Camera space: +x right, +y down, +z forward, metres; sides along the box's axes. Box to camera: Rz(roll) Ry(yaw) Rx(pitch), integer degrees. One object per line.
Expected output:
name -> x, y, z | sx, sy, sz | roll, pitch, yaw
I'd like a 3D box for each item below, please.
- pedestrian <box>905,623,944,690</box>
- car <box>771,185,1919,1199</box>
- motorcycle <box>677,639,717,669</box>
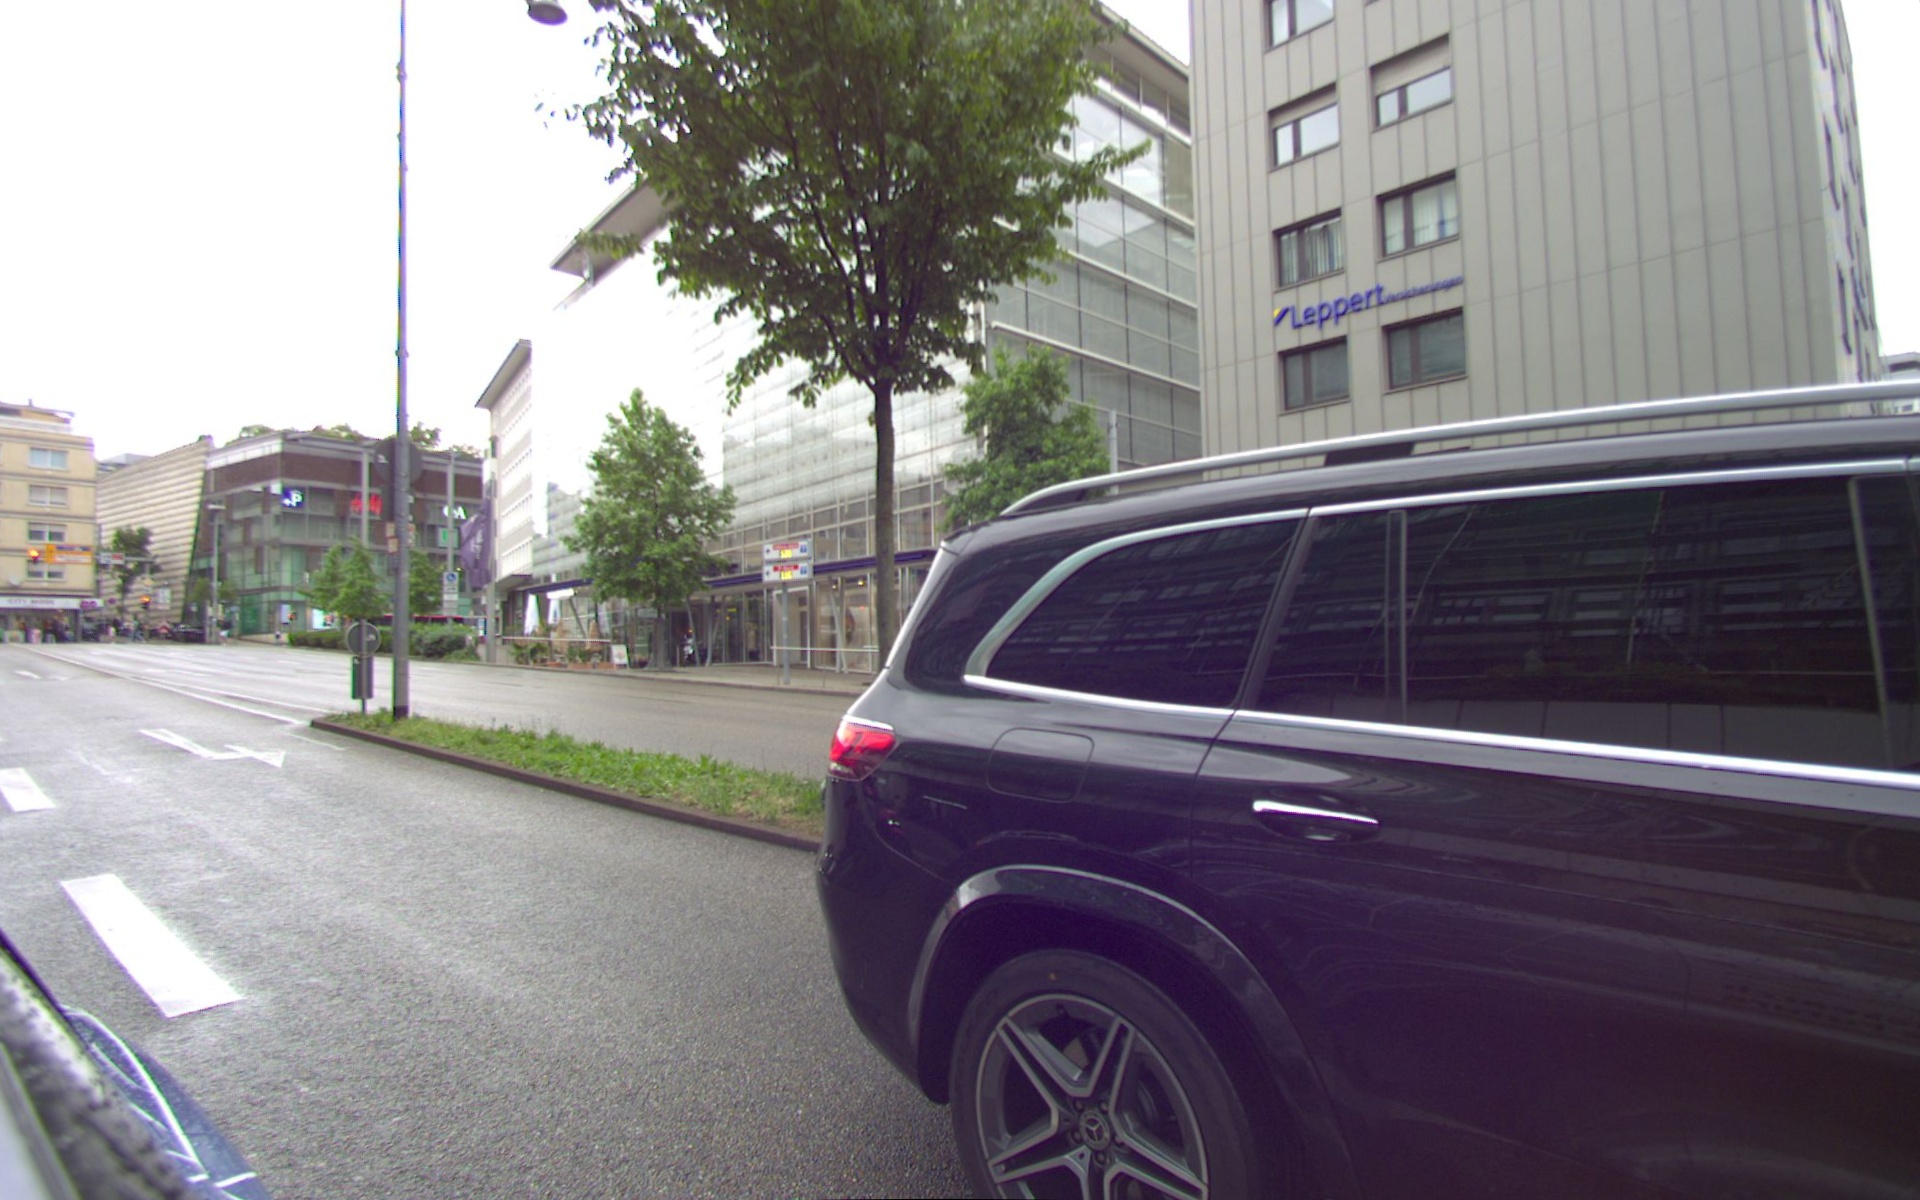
pedestrian -> -0.905, 1.418, 25.784 | 0.626, 1.649, 0.791 | 0, 0, -41
car -> 2.008, 0.450, 1.674 | 5.072, 1.884, 1.891 | 0, 0, 42
motorcycle -> -11.958, 2.456, 46.132 | 0.620, 1.336, 1.685 | -1, -3, 41
